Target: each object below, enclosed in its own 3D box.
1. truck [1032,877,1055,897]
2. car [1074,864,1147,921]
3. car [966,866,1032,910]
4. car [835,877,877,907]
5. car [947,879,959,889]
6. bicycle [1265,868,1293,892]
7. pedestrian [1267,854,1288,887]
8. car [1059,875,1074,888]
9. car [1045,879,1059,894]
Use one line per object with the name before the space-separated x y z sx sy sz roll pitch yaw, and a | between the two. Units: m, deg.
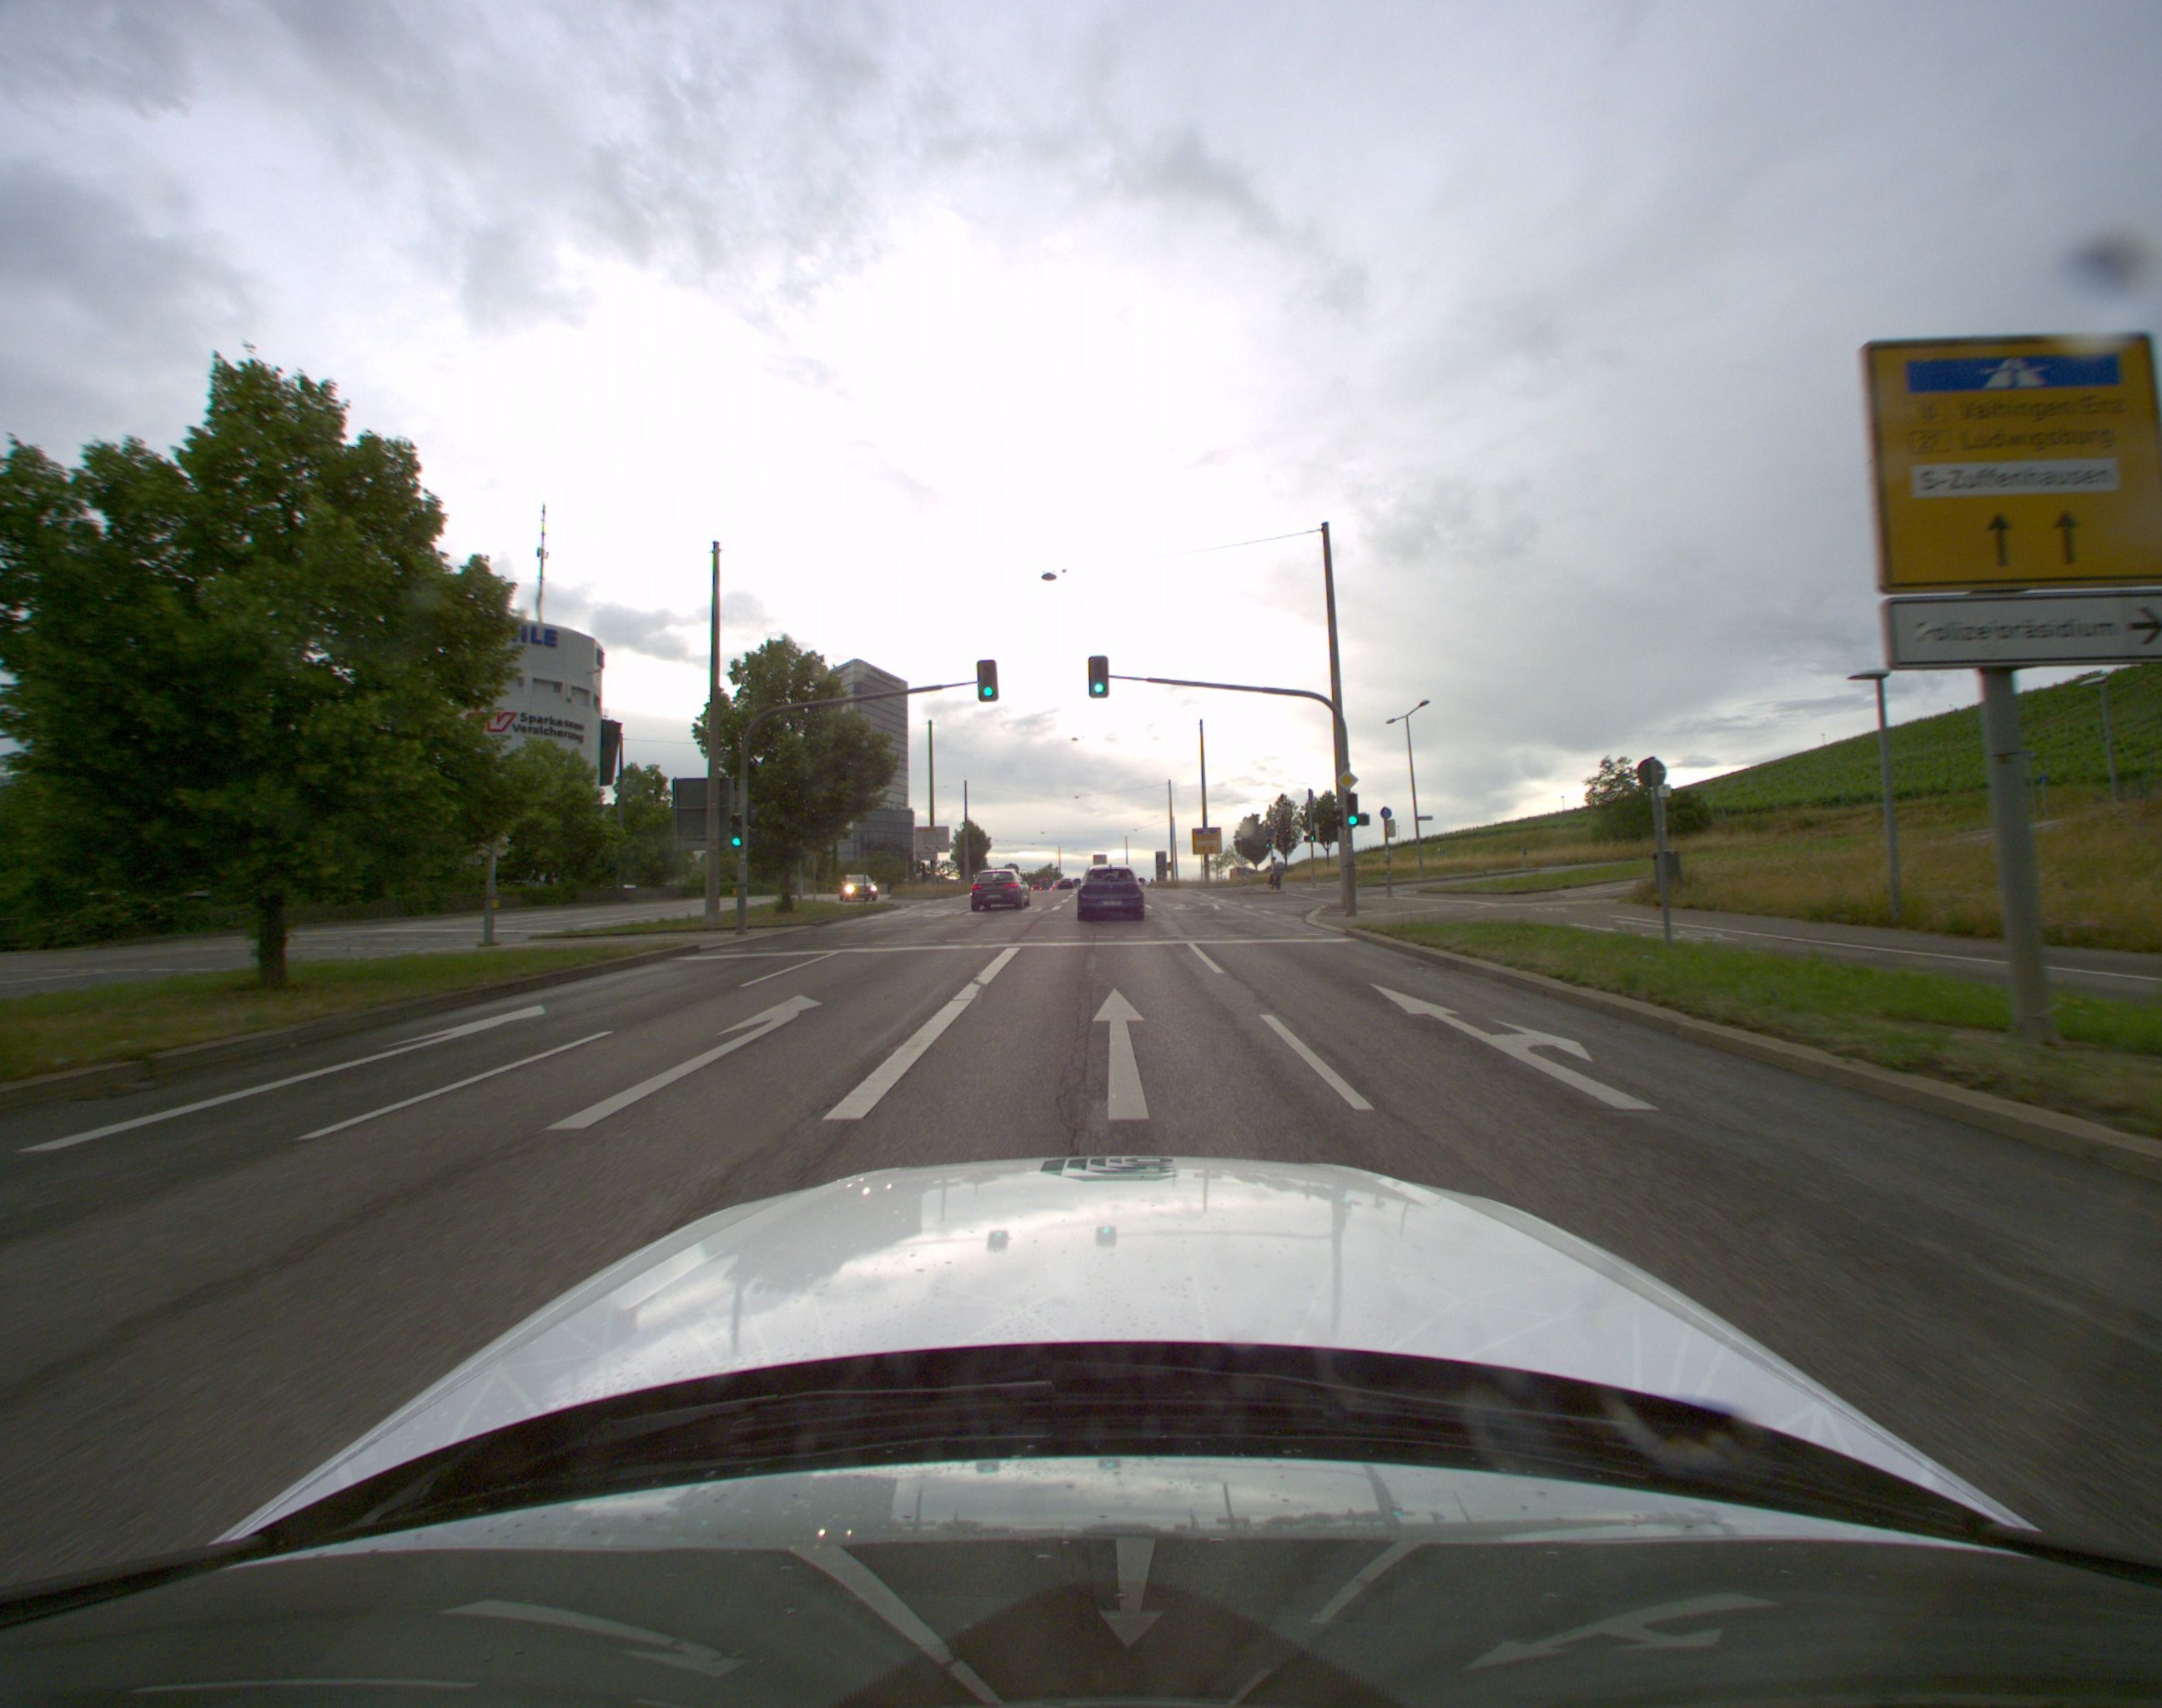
truck | -6.565 5.792 142.484 2.672 3.221 6.511 1 -4 -16
car | 0.834 1.003 22.497 1.831 1.394 4.002 1 -1 2
car | -2.877 1.189 29.352 1.862 1.461 3.976 -1 -1 1
car | -12.581 2.117 45.371 1.896 1.507 3.972 -2 -2 -21
car | -22.786 5.427 145.122 1.894 1.658 4.585 0 -3 -12
bicycle | 9.931 1.275 40.881 0.633 1.105 1.747 -7 0 -10
pedestrian | 9.881 0.834 40.884 0.632 1.570 0.893 -4 -1 -9
car | -1.786 3.332 98.642 1.716 1.541 3.703 1 -1 0
car | -4.504 5.028 126.031 1.902 1.973 5.080 -2 -4 -6
